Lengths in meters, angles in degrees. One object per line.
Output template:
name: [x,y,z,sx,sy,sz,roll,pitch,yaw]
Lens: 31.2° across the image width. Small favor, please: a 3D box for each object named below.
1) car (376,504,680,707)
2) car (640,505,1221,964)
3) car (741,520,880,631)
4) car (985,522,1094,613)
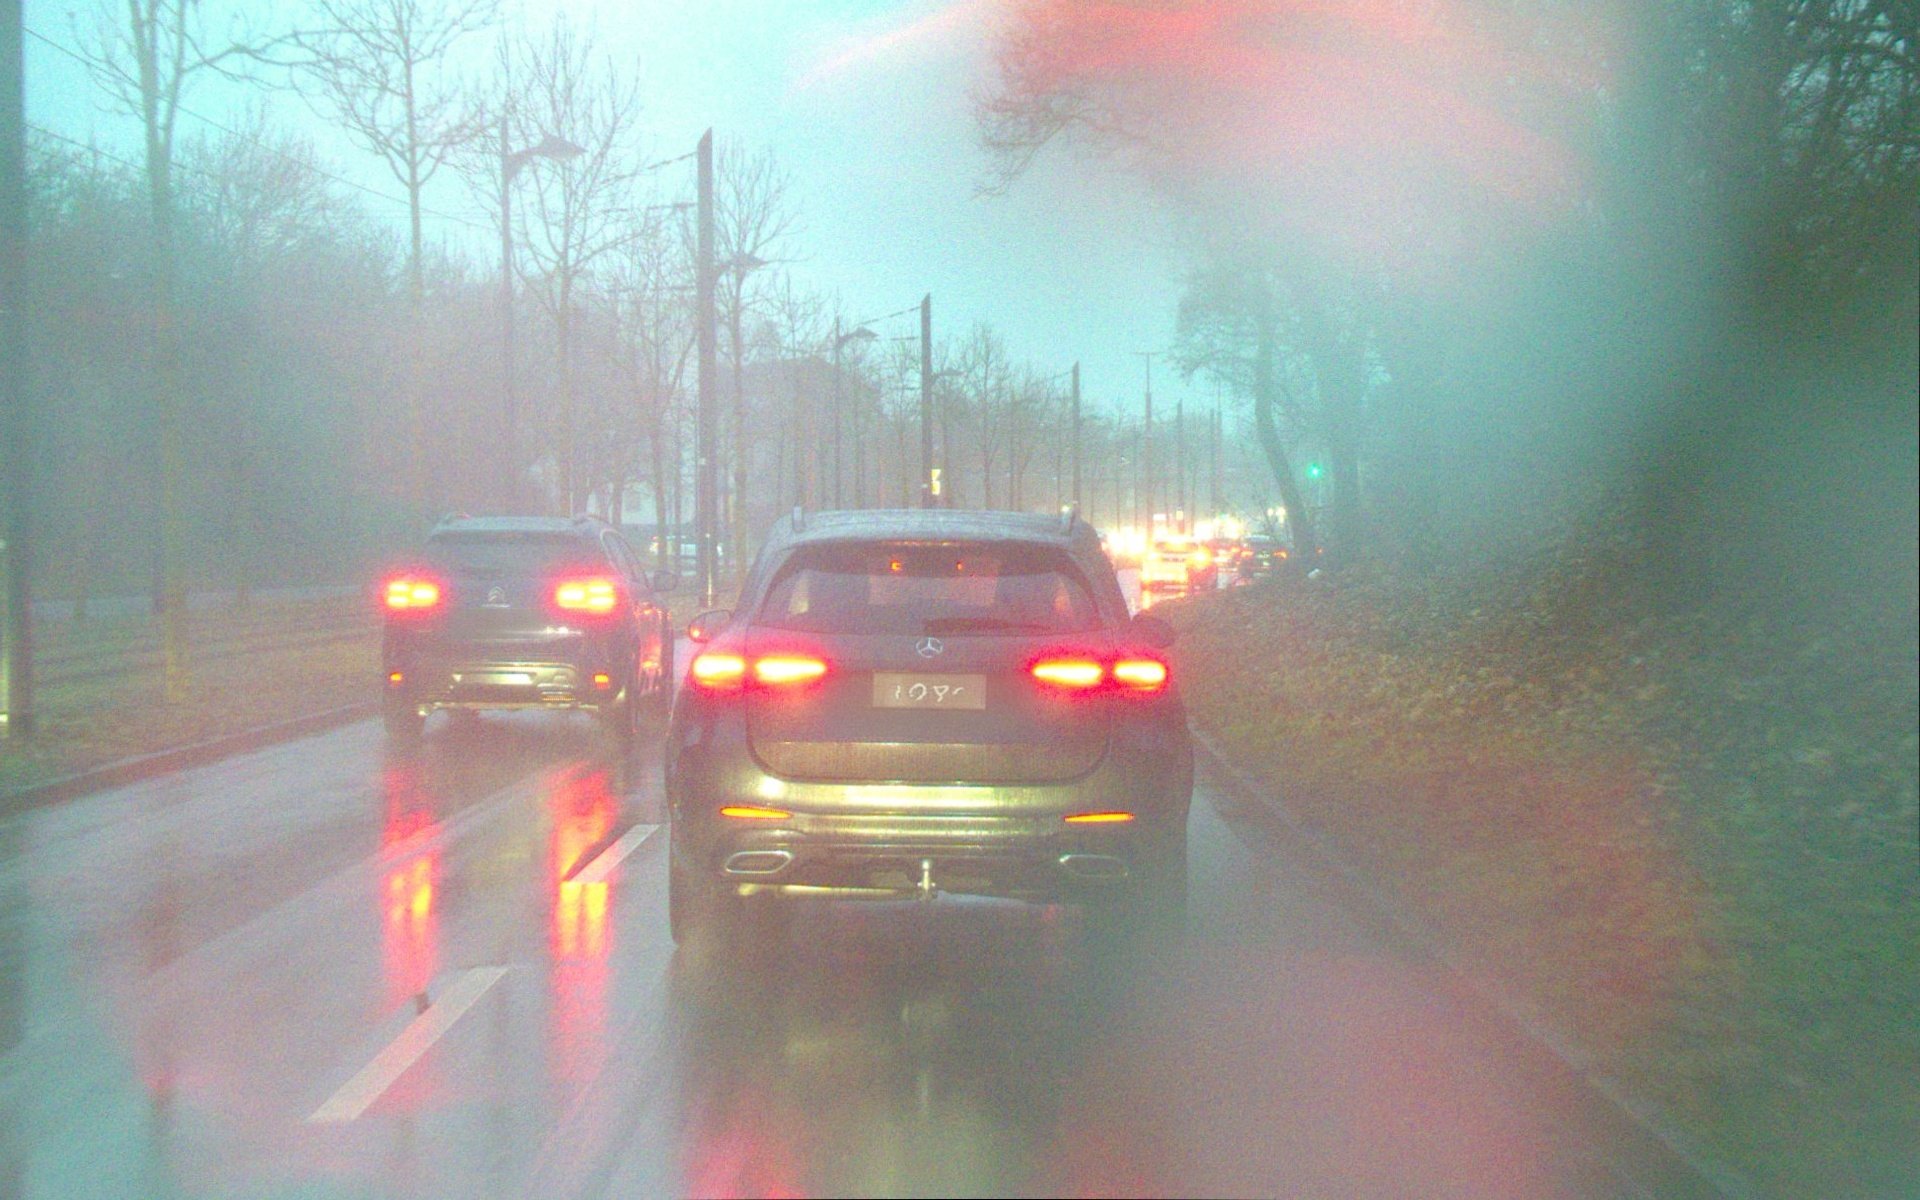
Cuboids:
car: [-3.279,-0.014,26.809,1.880,1.454,4.000,0,2,0]
car: [-0.190,0.416,13.902,1.998,1.578,4.001,0,1,-3]
car: [-2.233,-0.409,52.297,1.880,1.588,4.000,0,2,1]
car: [1.440,-0.595,60.908,1.709,1.552,3.995,0,1,5]
